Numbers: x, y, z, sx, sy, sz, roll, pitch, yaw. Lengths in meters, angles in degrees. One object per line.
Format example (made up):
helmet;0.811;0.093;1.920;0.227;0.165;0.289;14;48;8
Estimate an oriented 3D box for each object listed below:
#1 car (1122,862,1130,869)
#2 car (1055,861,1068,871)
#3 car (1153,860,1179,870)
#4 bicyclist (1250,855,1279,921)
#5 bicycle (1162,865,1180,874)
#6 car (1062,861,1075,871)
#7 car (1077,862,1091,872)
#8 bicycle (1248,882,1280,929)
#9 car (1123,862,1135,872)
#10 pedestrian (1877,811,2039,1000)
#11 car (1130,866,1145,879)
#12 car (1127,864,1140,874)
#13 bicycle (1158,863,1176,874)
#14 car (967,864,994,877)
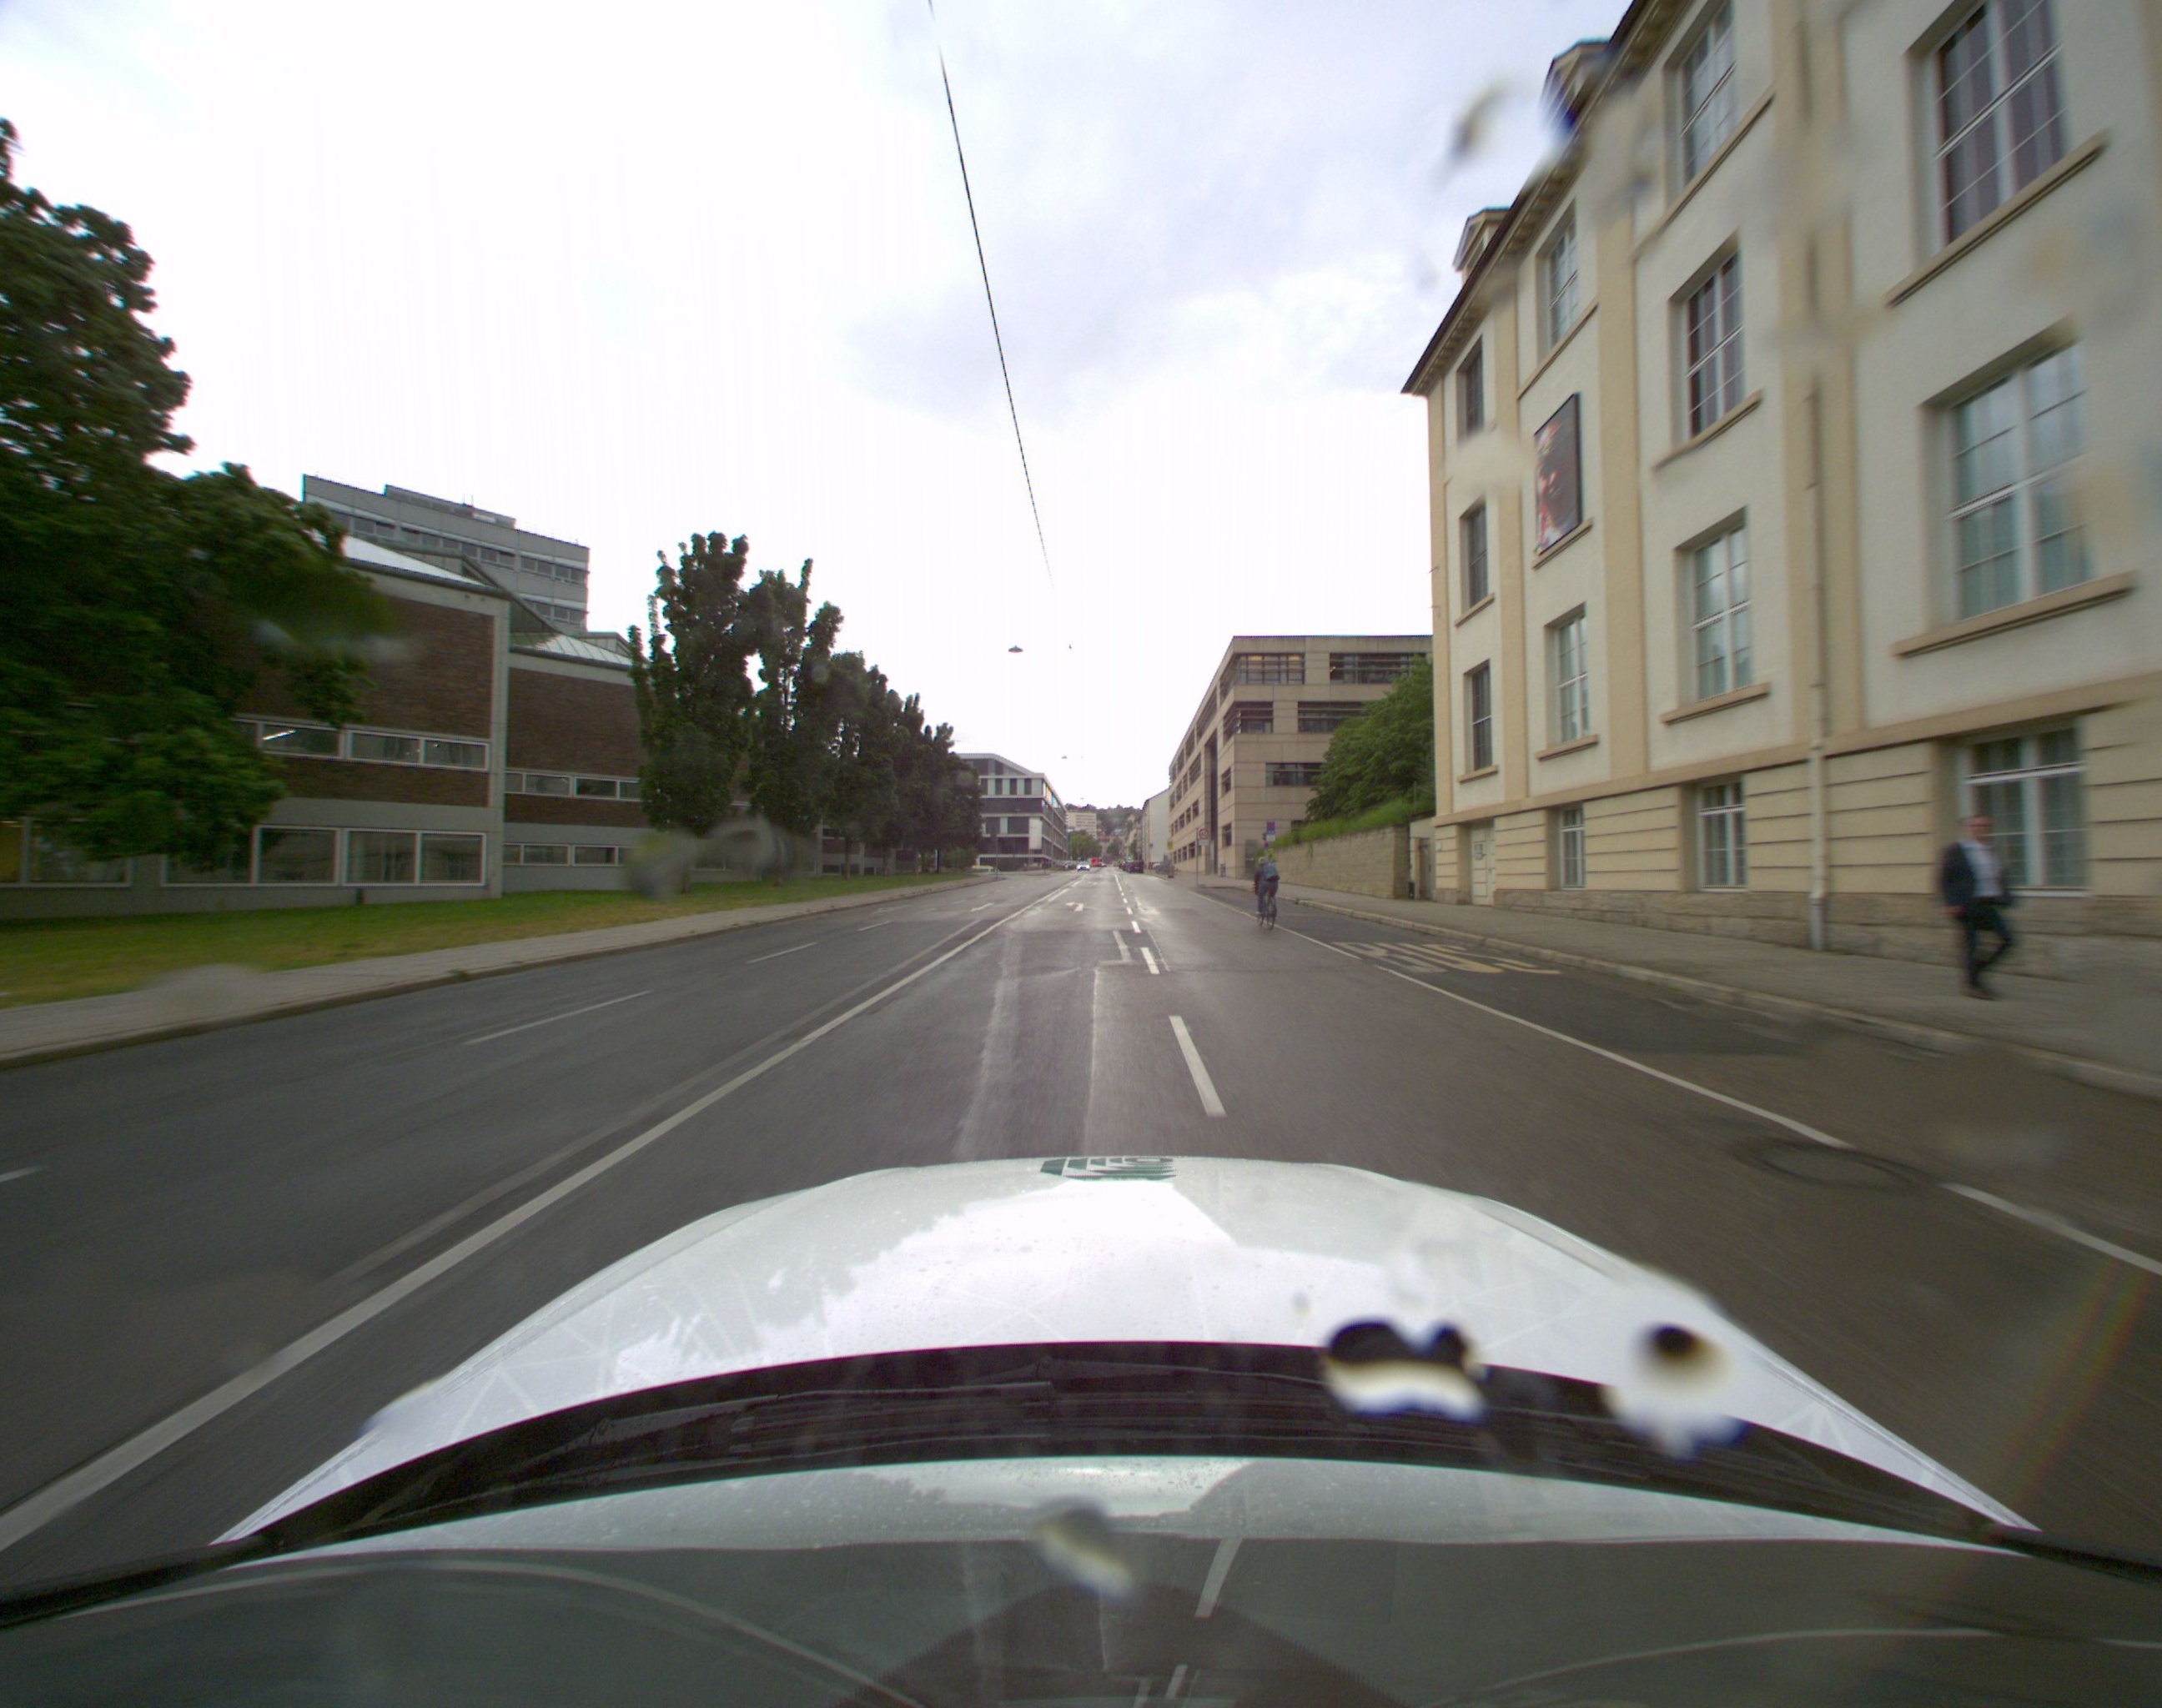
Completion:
car;9.527;2.423;172.684;1.700;1.454;3.986;1;-1;2
car;-3.216;1.970;134.017;1.842;1.618;4.493;1;-1;2
car;15.286;2.017;146.955;4.422;1.713;1.905;-3;-1;1
bicyclist;4.120;0.750;18.328;0.482;1.433;0.931;1;-2;4
bicycle;9.075;1.582;81.851;1.754;0.953;0.659;0;-1;-2
car;-2.315;2.299;150.850;1.954;1.750;4.947;1;-1;4
car;0.544;2.115;130.902;1.873;1.491;5.226;-2;-1;4
bicycle;4.132;1.148;18.458;0.445;0.963;1.692;0;0;4
car;8.167;2.233;138.349;1.928;1.750;4.798;1;-1;2
pedestrian;8.830;0.499;8.239;0.667;1.798;0.852;-1;-1;3
car;7.309;2.435;105.683;1.765;1.604;4.394;1;-1;1
car;7.769;2.257;121.451;1.737;1.533;4.319;1;-1;1
bicycle;8.759;1.502;82.841;1.725;1.119;0.659;0;-2;-4
car;-18.037;3.014;146.664;4.581;2.174;1.928;1;-1;-4
